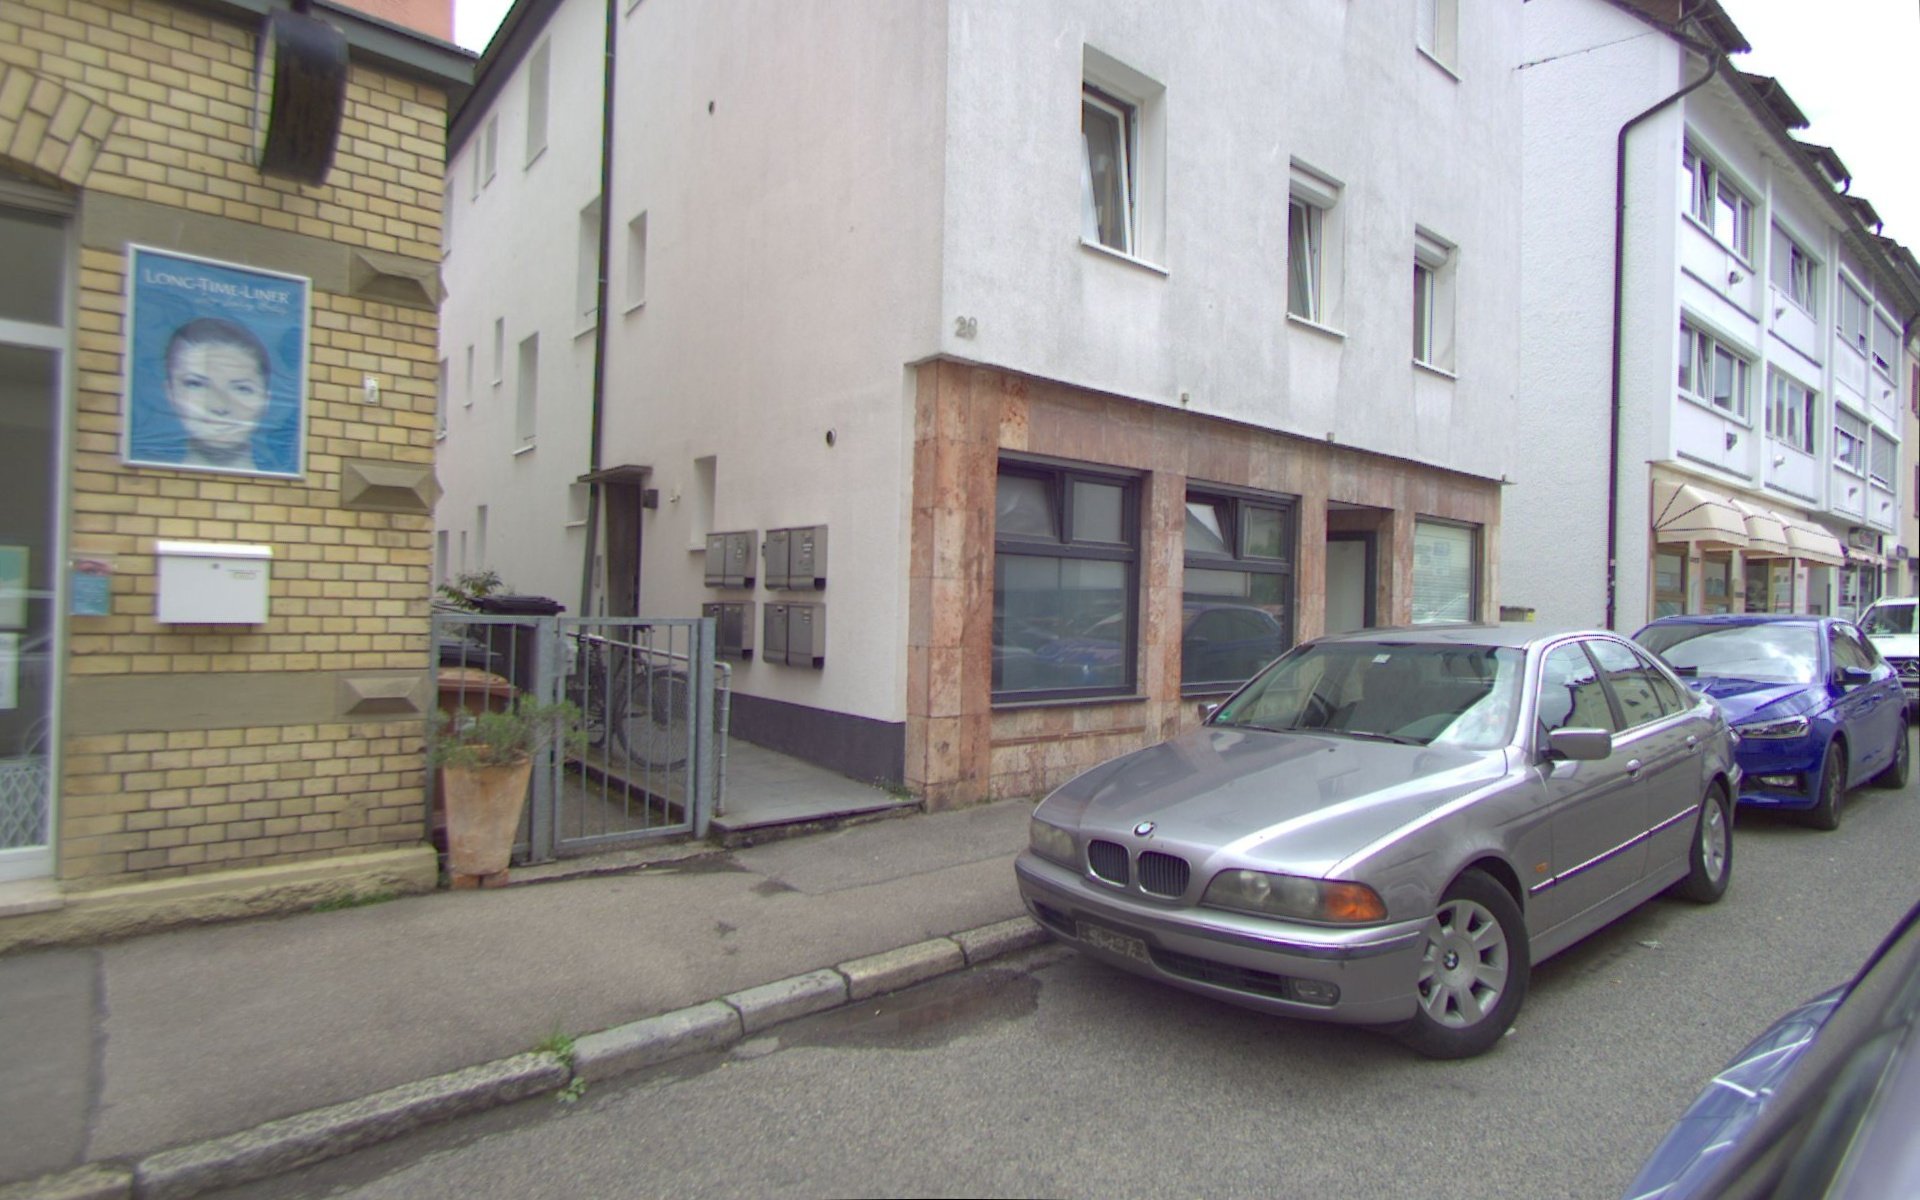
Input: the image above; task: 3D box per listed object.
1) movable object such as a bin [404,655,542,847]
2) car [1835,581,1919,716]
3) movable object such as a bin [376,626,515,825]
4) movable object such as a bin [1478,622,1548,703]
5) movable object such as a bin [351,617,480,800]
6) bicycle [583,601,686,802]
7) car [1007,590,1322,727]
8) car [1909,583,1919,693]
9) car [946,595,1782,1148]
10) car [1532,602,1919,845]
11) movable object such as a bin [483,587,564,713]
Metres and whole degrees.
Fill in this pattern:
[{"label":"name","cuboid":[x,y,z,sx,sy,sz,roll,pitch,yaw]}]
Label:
[{"label":"movable object such as a bin","cuboid":[-2.684,0.799,5.577,0.538,0.936,0.504,1,1,-44]},{"label":"car","cuboid":[14.038,0.602,14.224,4.413,1.727,1.900,-1,0,-39]},{"label":"movable object such as a bin","cuboid":[-3.053,0.709,6.009,0.595,1.074,0.504,1,1,-44]},{"label":"movable object such as a bin","cuboid":[6.922,0.768,12.663,0.512,0.941,0.570,1,2,-38]},{"label":"movable object such as a bin","cuboid":[-3.486,0.662,6.484,0.595,1.074,0.504,1,1,-44]},{"label":"bicycle","cuboid":[-2.231,0.632,6.874,0.289,1.234,1.201,2,0,-36]},{"label":"car","cuboid":[2.643,0.622,12.698,3.937,1.450,1.648,-1,0,-36]},{"label":"car","cuboid":[18.035,0.610,17.449,4.266,1.812,1.900,-1,0,-39]},{"label":"car","cuboid":[2.242,0.741,4.847,4.497,1.435,1.789,-1,-2,-40]},{"label":"car","cuboid":[6.350,0.765,8.139,3.858,1.450,1.755,-1,0,-39]},{"label":"movable object such as a bin","cuboid":[-3.984,0.438,9.239,0.537,1.092,0.505,1,1,-39]}]
